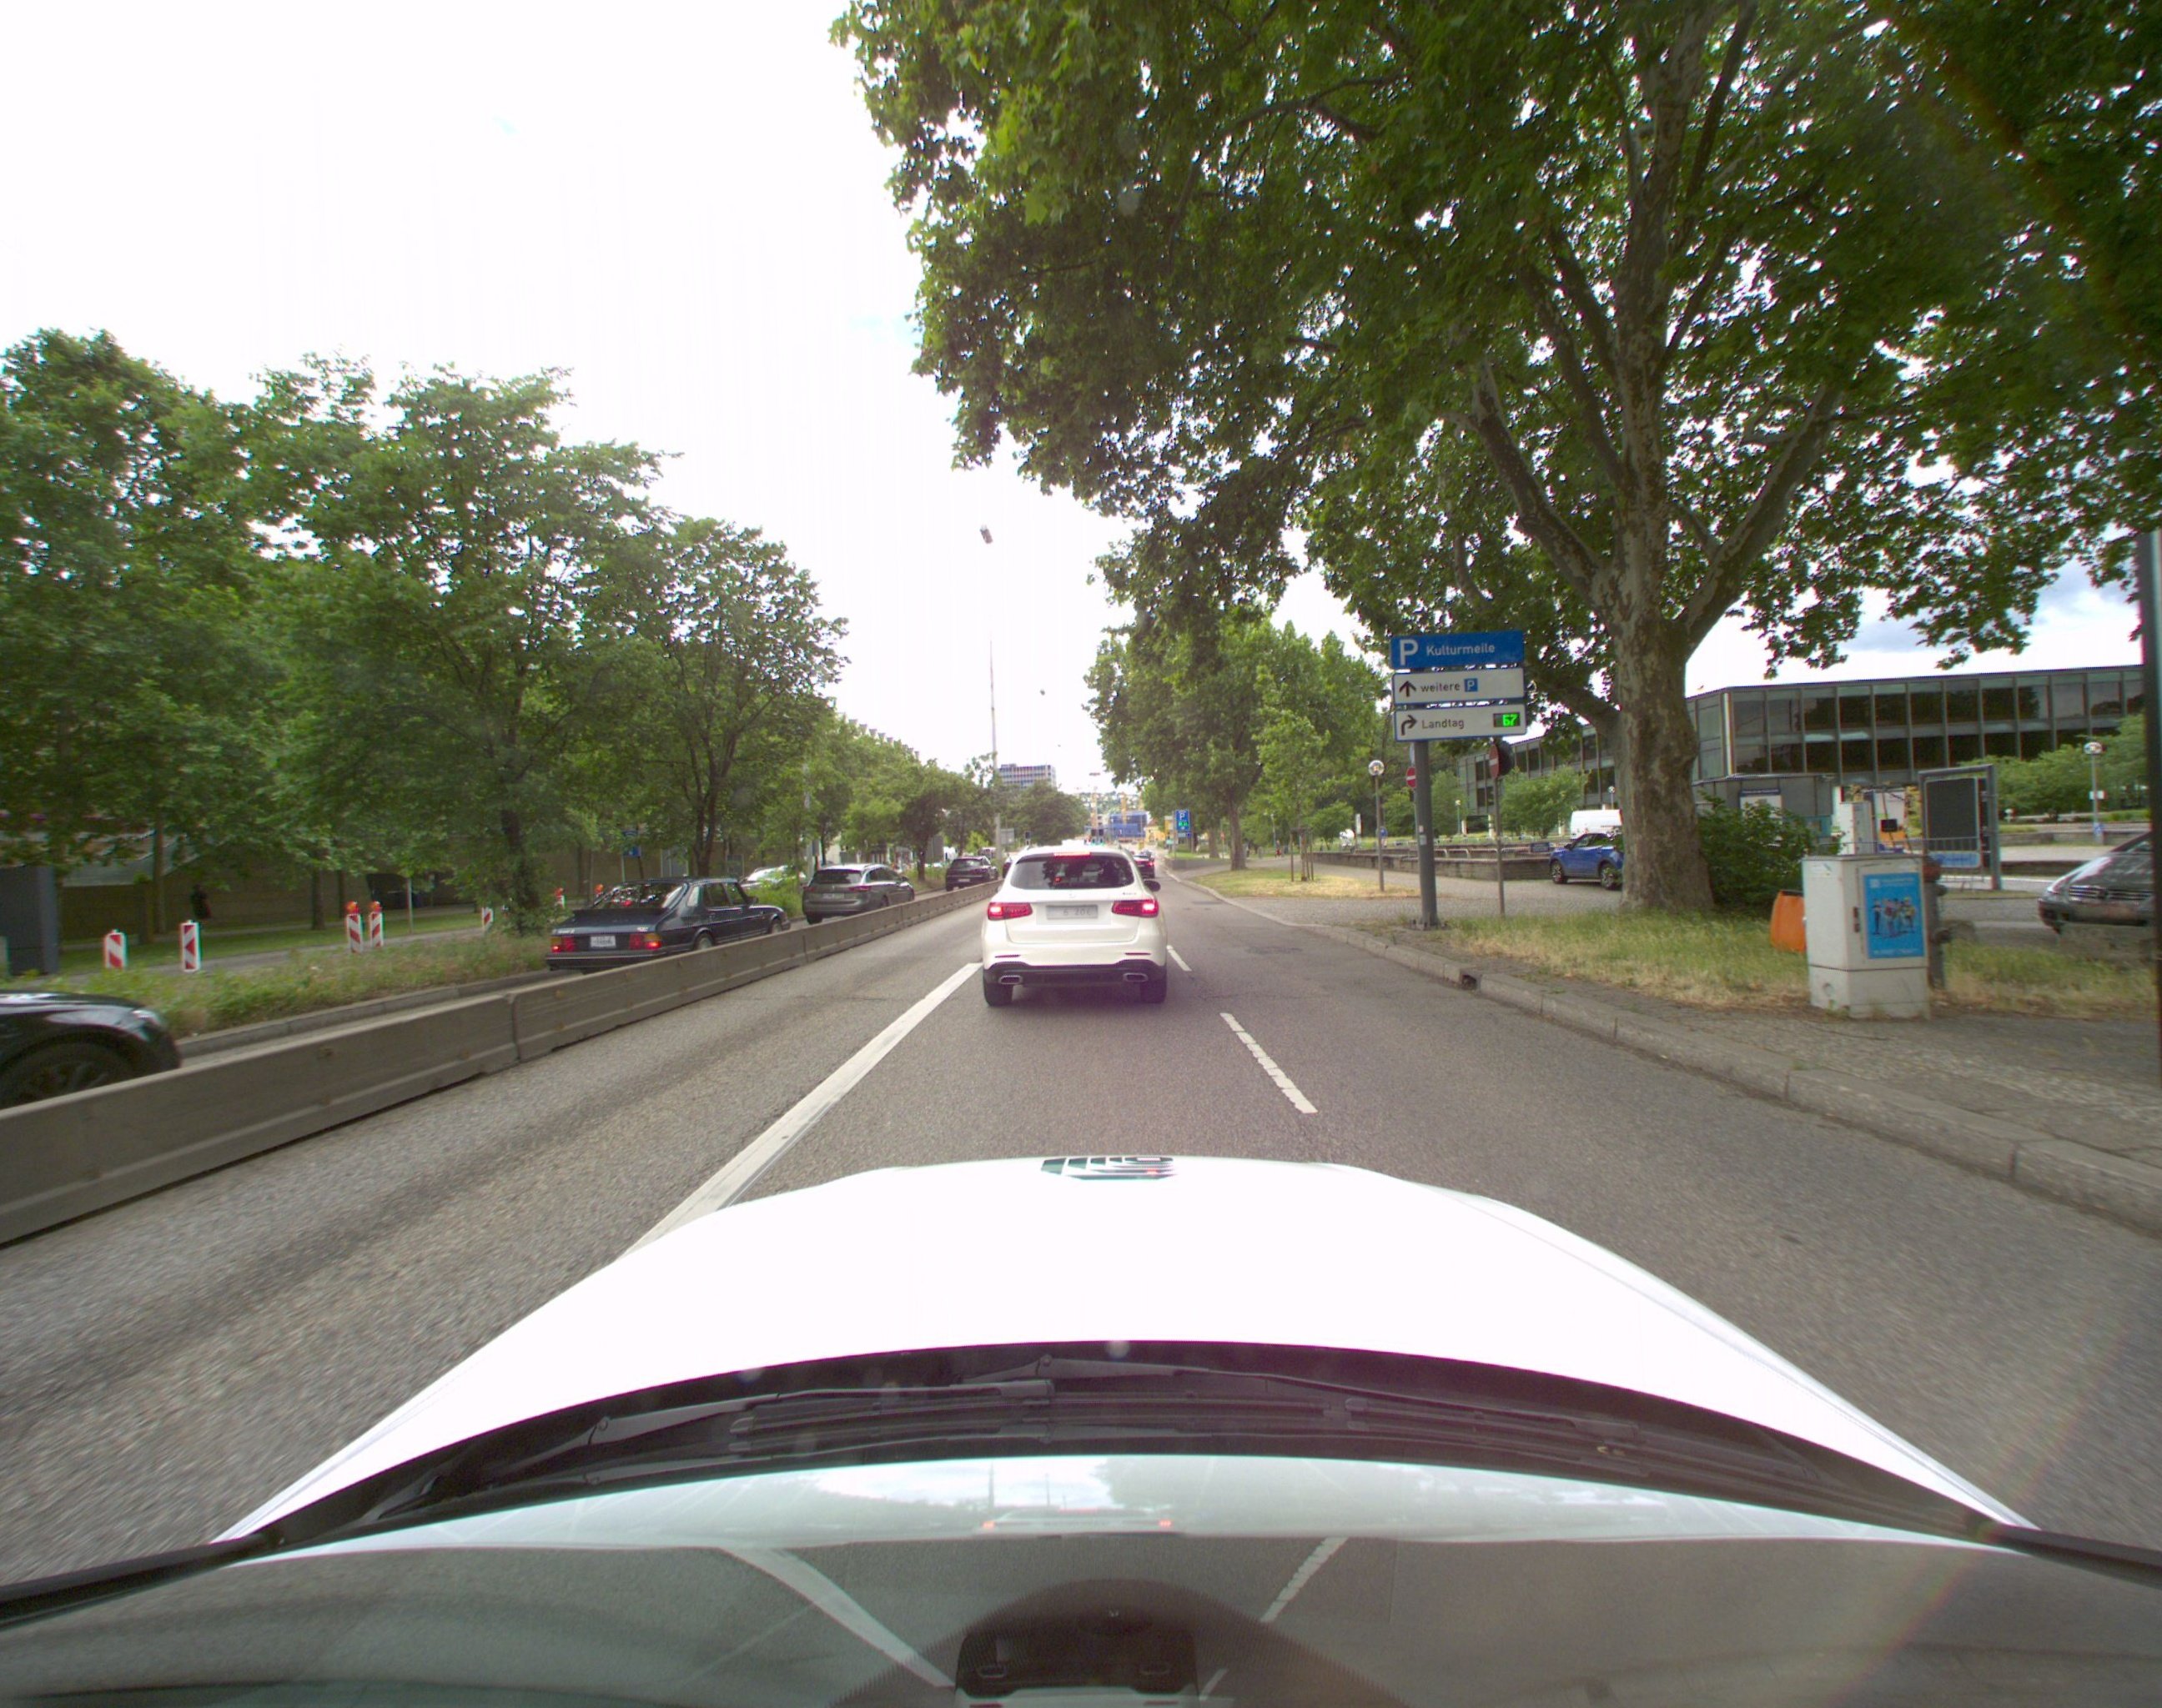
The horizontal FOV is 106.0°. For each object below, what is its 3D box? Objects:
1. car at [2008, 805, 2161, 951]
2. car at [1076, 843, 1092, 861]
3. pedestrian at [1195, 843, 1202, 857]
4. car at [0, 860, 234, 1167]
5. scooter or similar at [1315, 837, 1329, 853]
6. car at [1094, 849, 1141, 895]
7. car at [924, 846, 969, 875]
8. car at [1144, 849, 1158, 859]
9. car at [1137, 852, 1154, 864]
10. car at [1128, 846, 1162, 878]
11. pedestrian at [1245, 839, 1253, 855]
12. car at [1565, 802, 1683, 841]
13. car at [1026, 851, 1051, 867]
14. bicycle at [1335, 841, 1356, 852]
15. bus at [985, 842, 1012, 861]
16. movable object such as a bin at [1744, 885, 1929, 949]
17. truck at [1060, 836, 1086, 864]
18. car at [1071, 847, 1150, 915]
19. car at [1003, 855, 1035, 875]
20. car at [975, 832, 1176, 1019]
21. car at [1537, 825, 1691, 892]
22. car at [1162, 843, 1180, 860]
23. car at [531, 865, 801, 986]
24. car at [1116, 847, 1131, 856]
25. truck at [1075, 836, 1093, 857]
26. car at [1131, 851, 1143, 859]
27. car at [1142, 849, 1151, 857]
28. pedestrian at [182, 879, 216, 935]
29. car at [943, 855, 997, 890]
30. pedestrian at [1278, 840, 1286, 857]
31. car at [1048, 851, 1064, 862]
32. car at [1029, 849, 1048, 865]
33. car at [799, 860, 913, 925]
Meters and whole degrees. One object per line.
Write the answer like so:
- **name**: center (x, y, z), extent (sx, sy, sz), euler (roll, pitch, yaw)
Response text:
- **car**: center (13.550, 0.183, 9.342), extent (3.821, 1.568, 1.680), euler (-2, 0, 1)
- **car**: center (0.493, -0.272, 114.057), extent (1.986, 2.475, 4.002), euler (-2, 0, 2)
- **pedestrian**: center (16.935, -0.552, 117.245), extent (0.752, 2.013, 0.703), euler (-2, 0, 38)
- **car**: center (-6.262, 0.827, 2.694), extent (1.810, 1.499, 4.770), euler (-2, 0, 1)
- **scooter or similar**: center (18.857, -0.672, 63.811), extent (0.633, 1.245, 2.228), euler (0, 0, 5)
- **car**: center (1.383, 0.676, 32.214), extent (1.654, 1.639, 3.546), euler (-2, 0, -1)
- **car**: center (-9.911, 0.470, 60.395), extent (2.107, 1.969, 5.581), euler (-3, 0, 2)
- **car**: center (10.587, 0.012, 123.736), extent (1.939, 1.319, 4.020), euler (-2, 0, 3)
- **car**: center (7.980, 0.507, 100.622), extent (1.939, 1.428, 4.020), euler (-2, 0, 3)
- **car**: center (3.877, 0.458, 49.817), extent (1.818, 1.752, 4.002), euler (-2, 0, 2)
- **pedestrian**: center (17.551, -0.739, 85.209), extent (0.754, 1.724, 0.701), euler (-2, 0, 10)
- **car**: center (35.632, -2.106, 53.576), extent (6.081, 2.260, 2.404), euler (-2, 0, 3)
- **car**: center (-3.642, 0.407, 70.060), extent (1.651, 1.319, 3.552), euler (-2, 0, 5)
- **bicycle**: center (22.790, -0.634, 70.186), extent (0.950, 0.975, 2.788), euler (0, 0, 2)
- **bus**: center (-14.875, -0.408, 148.256), extent (3.657, 3.205, 14.267), euler (-3, 0, -1)
- **movable object such as a bin**: center (8.211, 0.671, 8.910), extent (1.291, 0.652, 0.731), euler (0, -1, 10)
- **truck**: center (-0.831, -0.443, 88.780), extent (2.611, 2.861, 7.080), euler (-1, 0, 1)
- **car**: center (0.700, 0.660, 21.884), extent (1.791, 1.608, 3.751), euler (-2, 0, -3)
- **car**: center (-4.182, 0.742, 55.149), extent (1.652, 1.319, 3.551), euler (0, 0, 4)
- **car**: center (-0.160, 0.643, 9.706), extent (1.784, 1.625, 4.432), euler (-3, 0, -3)
- **car**: center (14.270, 0.040, 22.099), extent (1.752, 1.551, 4.032), euler (-2, 2, 4)
- **car**: center (11.326, -0.286, 102.390), extent (1.985, 2.013, 4.003), euler (-2, 0, 3)
- **car**: center (-6.026, 0.937, 12.573), extent (1.672, 1.367, 4.545), euler (-2, 0, 2)
- **car**: center (5.973, -0.345, 114.221), extent (1.939, 1.319, 4.020), euler (-2, 0, 3)
- **truck**: center (0.481, -1.095, 121.015), extent (2.682, 2.992, 5.639), euler (0, 0, 1)
- **car**: center (9.995, 0.209, 145.254), extent (1.937, 1.319, 4.023), euler (-2, 0, 5)
- **car**: center (15.039, -0.274, 187.478), extent (1.751, 1.669, 4.170), euler (-2, 0, 2)
- **pedestrian**: center (-32.750, 1.968, 30.236), extent (0.449, 2.013, 0.665), euler (-2, 0, 2)
- **car**: center (-5.104, 0.823, 37.806), extent (1.769, 1.420, 4.002), euler (-2, 0, 2)
- **pedestrian**: center (19.331, -0.549, 78.335), extent (0.634, 1.610, 0.665), euler (-2, 0, 9)
- **car**: center (-3.222, 0.296, 106.149), extent (1.652, 1.319, 3.550), euler (-2, 0, 3)
- **car**: center (-4.179, 0.280, 80.820), extent (1.654, 1.513, 3.546), euler (-2, 0, -1)
- **car**: center (-5.566, 0.893, 20.628), extent (1.655, 1.436, 3.962), euler (-2, 0, 2)
